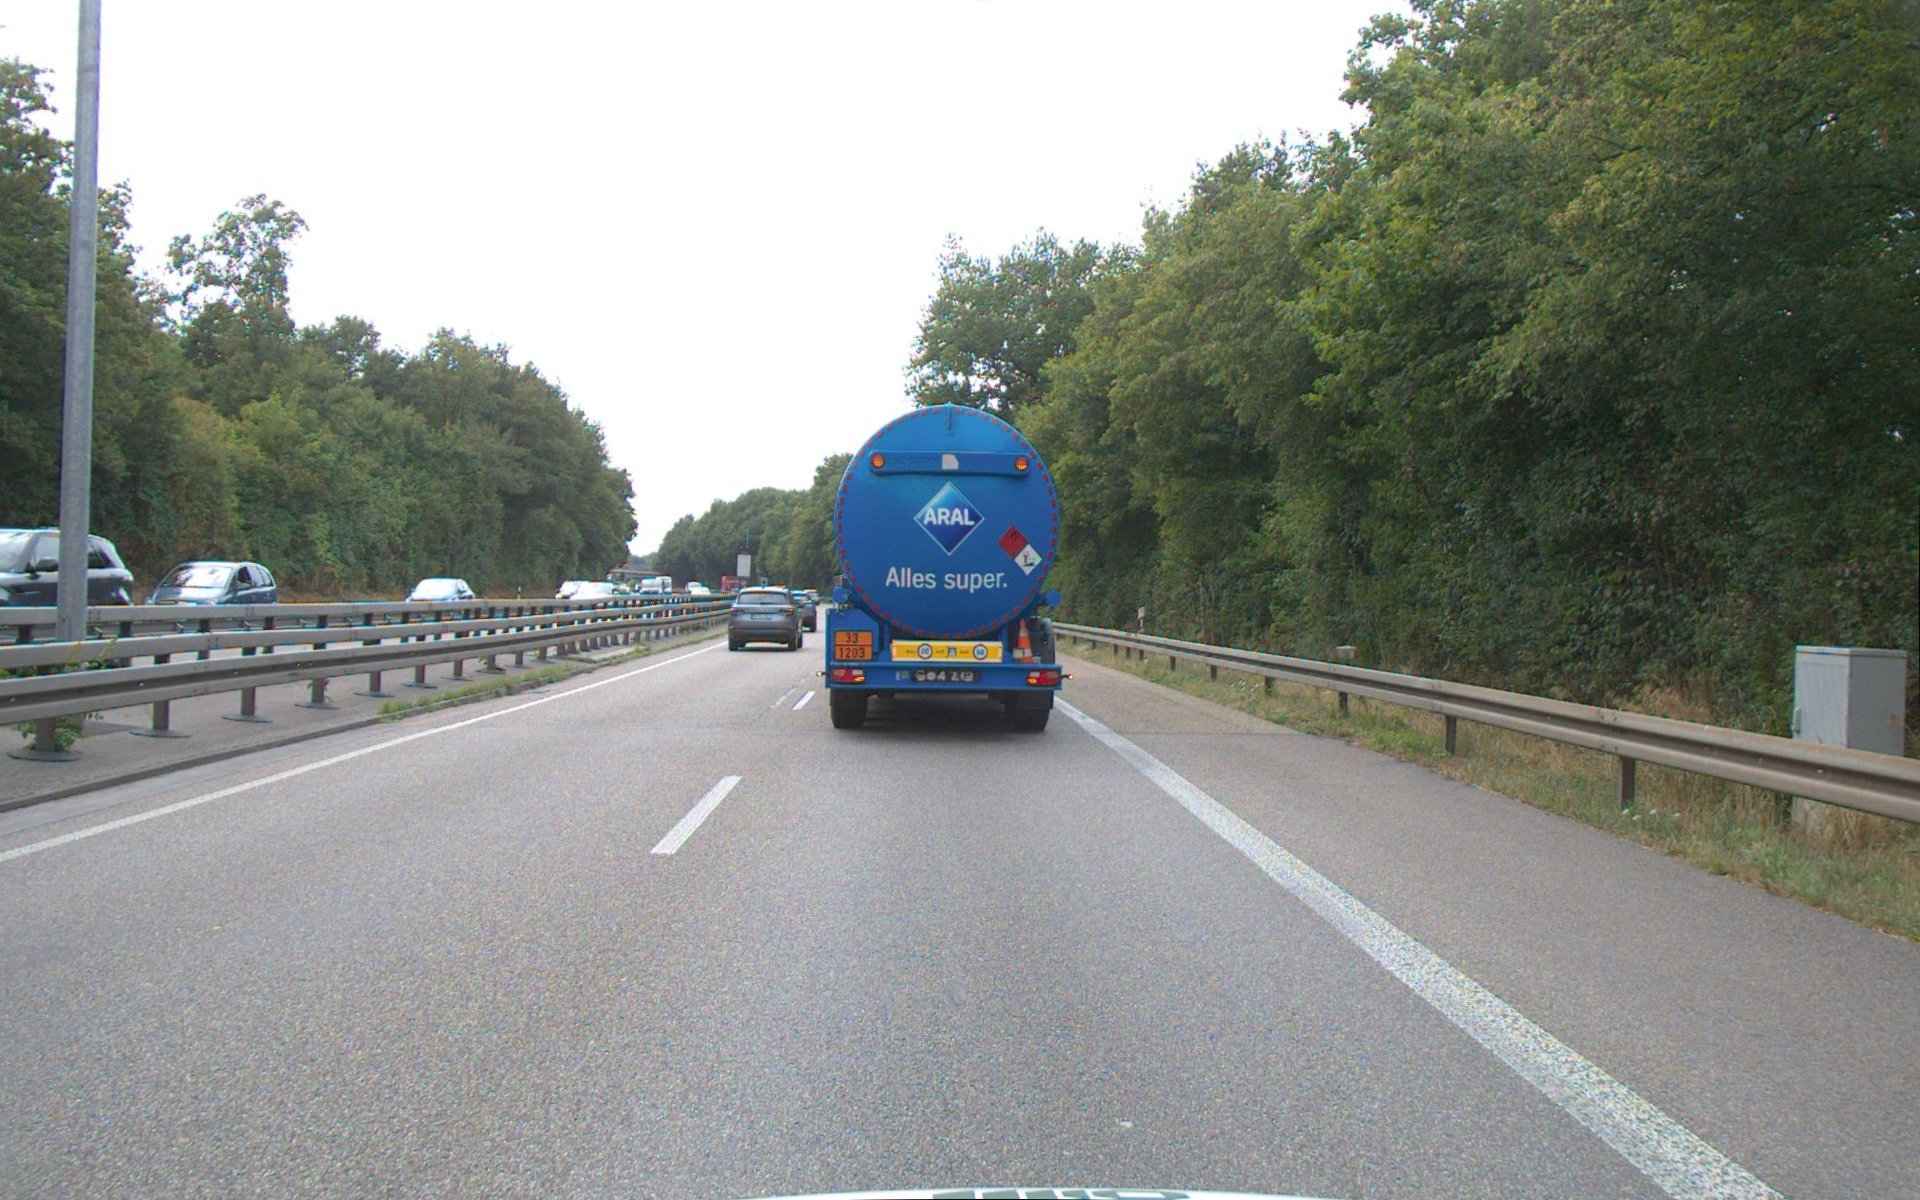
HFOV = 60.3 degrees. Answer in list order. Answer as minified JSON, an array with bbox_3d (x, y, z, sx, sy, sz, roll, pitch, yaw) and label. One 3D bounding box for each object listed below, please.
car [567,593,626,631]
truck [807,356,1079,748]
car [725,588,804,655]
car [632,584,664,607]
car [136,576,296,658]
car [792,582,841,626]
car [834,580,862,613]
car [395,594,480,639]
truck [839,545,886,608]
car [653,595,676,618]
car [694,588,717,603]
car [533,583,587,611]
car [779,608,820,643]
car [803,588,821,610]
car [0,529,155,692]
[{"bbox_3d":[-14.661,0.491,66.856,1.677,1.452,4.054,0,0,-3],"label":"car"},{"bbox_3d":[-0.290,-0.470,20.431,2.700,3.914,7.685,0,0,-2],"label":"truck"},{"bbox_3d":[-5.064,0.555,43.270,1.790,1.638,4.164,0,0,-4],"label":"car"},{"bbox_3d":[-25.704,-0.377,136.306,1.995,1.835,5.119,0,0,-4],"label":"car"},{"bbox_3d":[-15.884,0.360,35.520,1.696,1.629,4.129,0,0,-3],"label":"car"},{"bbox_3d":[-5.542,0.174,64.394,1.790,1.638,4.164,0,0,-4],"label":"car"},{"bbox_3d":[-7.991,-0.235,118.603,1.954,2.284,3.997,0,-1,-4],"label":"car"},{"bbox_3d":[-17.797,0.551,56.546,1.775,1.475,4.054,0,0,-3],"label":"car"},{"bbox_3d":[-5.098,-1.144,87.498,1.952,3.147,7.815,0,0,1],"label":"truck"},{"bbox_3d":[-35.384,0.794,198.077,2.267,2.657,5.546,0,-1,-6],"label":"car"},{"bbox_3d":[-23.428,-0.419,152.360,1.622,1.300,4.709,2,-1,-4],"label":"car"},{"bbox_3d":[-19.844,-0.118,82.227,1.939,1.322,4.064,0,0,-4],"label":"car"},{"bbox_3d":[-9.664,1.500,99.900,1.952,2.049,4.001,0,-1,1],"label":"car"},{"bbox_3d":[-16.068,-0.120,179.553,1.955,2.284,3.995,0,-1,-6],"label":"car"},{"bbox_3d":[-11.943,0.121,20.418,1.756,1.868,4.954,0,0,-3],"label":"car"}]
